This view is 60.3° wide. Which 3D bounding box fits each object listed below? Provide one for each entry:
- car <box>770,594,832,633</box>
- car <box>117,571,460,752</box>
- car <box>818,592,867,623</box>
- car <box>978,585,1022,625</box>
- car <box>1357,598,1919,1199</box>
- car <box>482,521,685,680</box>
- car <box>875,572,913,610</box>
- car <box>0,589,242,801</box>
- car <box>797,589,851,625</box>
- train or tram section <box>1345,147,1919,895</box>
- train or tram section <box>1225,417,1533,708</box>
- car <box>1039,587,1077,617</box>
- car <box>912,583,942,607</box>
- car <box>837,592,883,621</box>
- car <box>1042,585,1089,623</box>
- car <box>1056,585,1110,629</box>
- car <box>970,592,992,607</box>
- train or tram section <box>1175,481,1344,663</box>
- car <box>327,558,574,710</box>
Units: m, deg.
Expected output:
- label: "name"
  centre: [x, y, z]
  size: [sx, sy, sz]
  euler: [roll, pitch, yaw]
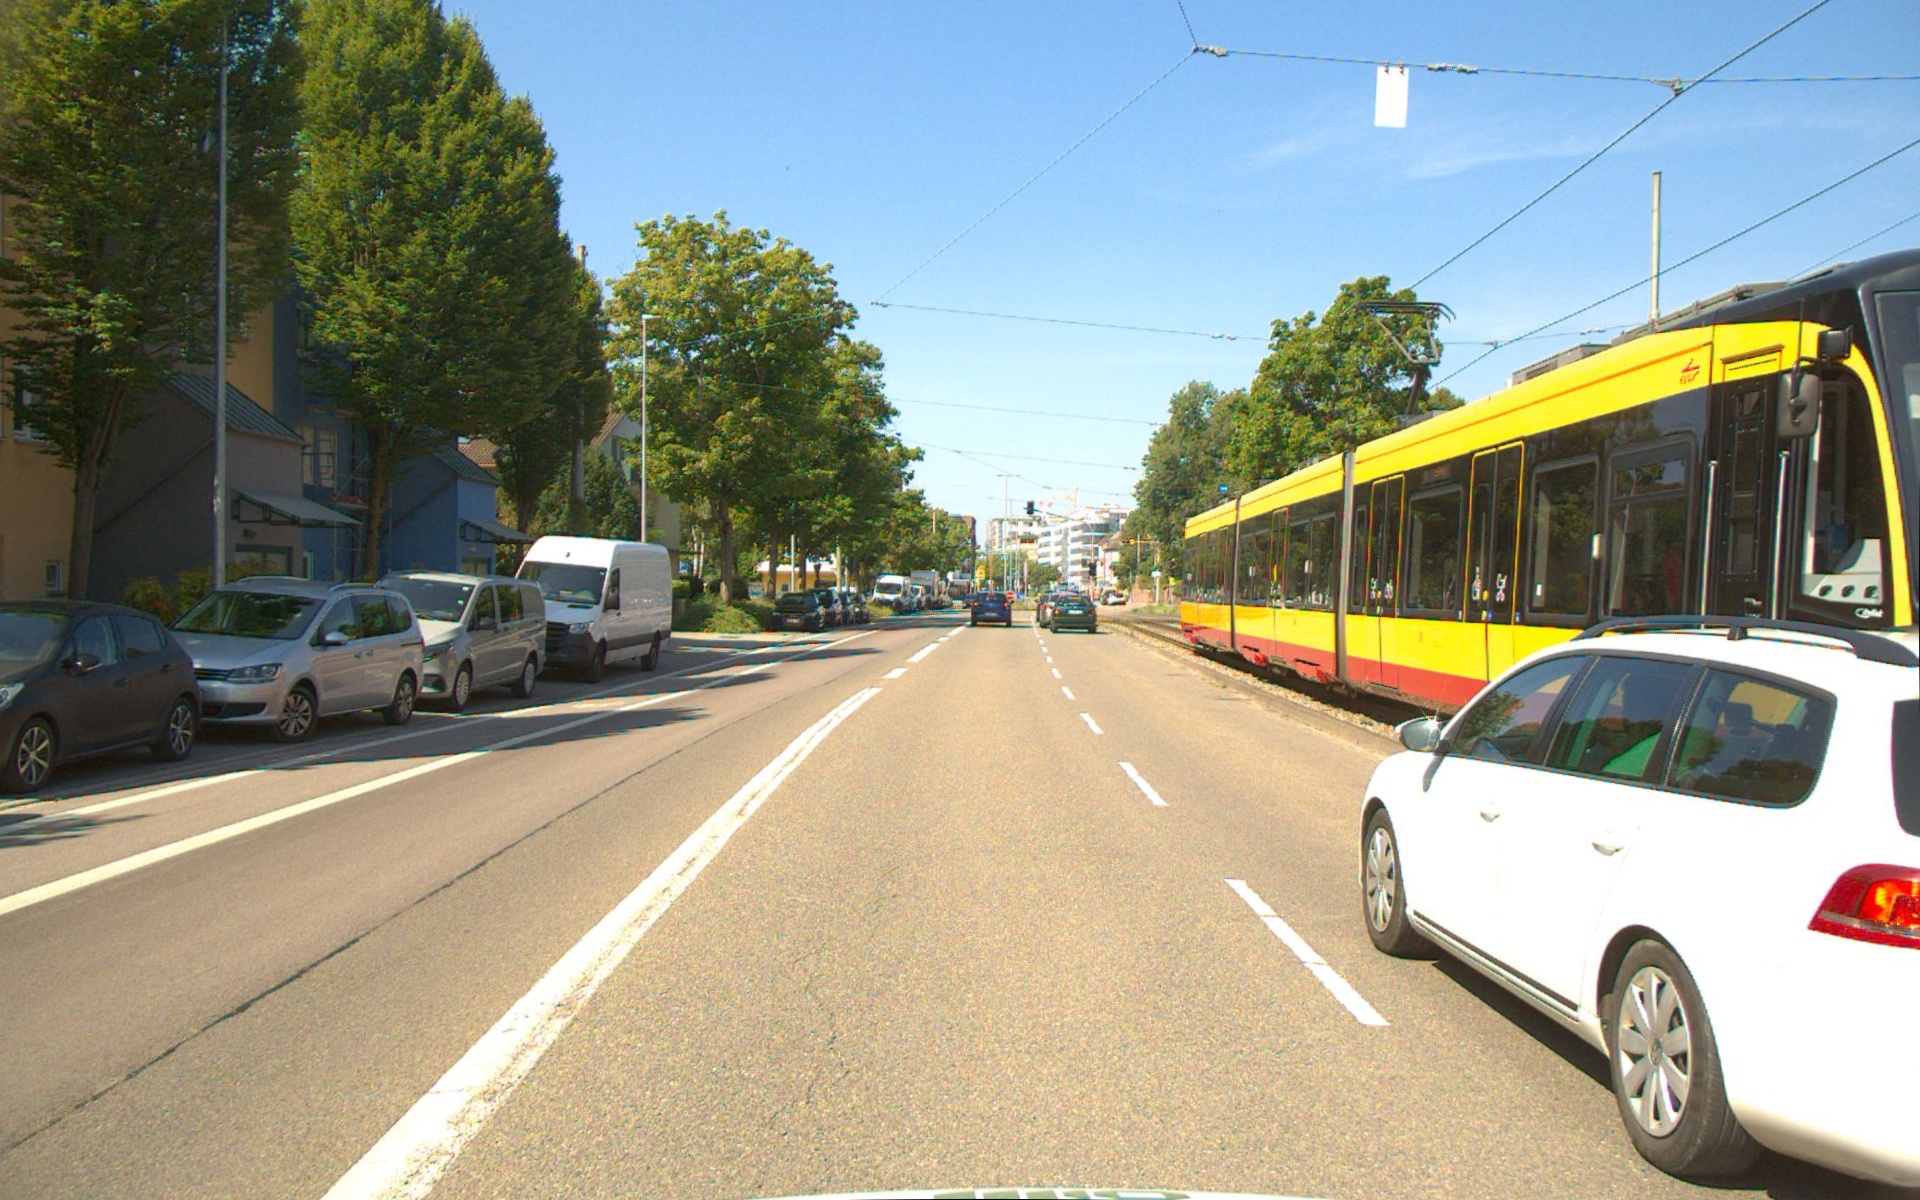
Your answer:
- label: "car"
  centre: [-6.092, 0.501, 63.876]
  size: [1.664, 1.442, 4.003]
  euler: [0, 0, 5]
- label: "car"
  centre: [-7.678, 0.620, 19.525]
  size: [1.763, 1.754, 4.911]
  euler: [3, 0, 3]
- label: "car"
  centre: [-5.434, 0.325, 76.917]
  size: [1.664, 1.376, 4.003]
  euler: [0, 0, 5]
- label: "car"
  centre: [1.712, 0.181, 70.248]
  size: [1.763, 1.533, 4.001]
  euler: [1, 1, 1]
- label: "car"
  centre: [2.736, 0.758, 5.462]
  size: [1.657, 1.476, 4.457]
  euler: [1, 1, -2]
- label: "car"
  centre: [-7.379, -0.002, 33.363]
  size: [1.953, 2.761, 7.159]
  euler: [3, 0, 3]
- label: "car"
  centre: [-4.415, -0.606, 111.171]
  size: [1.840, 2.458, 5.119]
  euler: [0, 0, 5]
- label: "car"
  centre: [-8.007, 0.703, 14.430]
  size: [1.656, 1.500, 4.048]
  euler: [3, 0, 0]
- label: "car"
  centre: [-5.844, 0.299, 71.518]
  size: [1.664, 1.508, 4.003]
  euler: [0, 0, 5]
- label: "train or tram section"
  centre: [6.163, -0.450, 15.074]
  size: [2.459, 3.812, 13.313]
  euler: [0, 0, 1]
- label: "train or tram section"
  centre: [6.552, -0.548, 28.319]
  size: [2.459, 3.812, 13.315]
  euler: [0, 0, 3]
- label: "car"
  centre: [4.945, 0.078, 84.015]
  size: [1.763, 1.486, 4.001]
  euler: [0, 0, 1]
- label: "car"
  centre: [-2.601, -0.405, 131.619]
  size: [1.787, 1.900, 4.728]
  euler: [0, 0, 5]
- label: "car"
  centre: [-4.933, 0.300, 82.214]
  size: [1.664, 1.376, 4.003]
  euler: [0, 0, 5]
- label: "car"
  centre: [4.371, 0.155, 68.892]
  size: [1.763, 1.485, 4.001]
  euler: [1, 1, 1]
- label: "car"
  centre: [4.559, 0.226, 61.722]
  size: [1.763, 1.533, 4.001]
  euler: [1, 1, 1]
- label: "car"
  centre: [1.817, -0.046, 141.083]
  size: [1.664, 1.295, 4.002]
  euler: [0, 0, 4]
- label: "train or tram section"
  centre: [7.166, -0.645, 41.454]
  size: [2.459, 3.812, 13.316]
  euler: [0, 0, 3]
- label: "car"
  centre: [-7.628, 0.461, 25.397]
  size: [1.880, 1.982, 5.355]
  euler: [3, 0, 2]
